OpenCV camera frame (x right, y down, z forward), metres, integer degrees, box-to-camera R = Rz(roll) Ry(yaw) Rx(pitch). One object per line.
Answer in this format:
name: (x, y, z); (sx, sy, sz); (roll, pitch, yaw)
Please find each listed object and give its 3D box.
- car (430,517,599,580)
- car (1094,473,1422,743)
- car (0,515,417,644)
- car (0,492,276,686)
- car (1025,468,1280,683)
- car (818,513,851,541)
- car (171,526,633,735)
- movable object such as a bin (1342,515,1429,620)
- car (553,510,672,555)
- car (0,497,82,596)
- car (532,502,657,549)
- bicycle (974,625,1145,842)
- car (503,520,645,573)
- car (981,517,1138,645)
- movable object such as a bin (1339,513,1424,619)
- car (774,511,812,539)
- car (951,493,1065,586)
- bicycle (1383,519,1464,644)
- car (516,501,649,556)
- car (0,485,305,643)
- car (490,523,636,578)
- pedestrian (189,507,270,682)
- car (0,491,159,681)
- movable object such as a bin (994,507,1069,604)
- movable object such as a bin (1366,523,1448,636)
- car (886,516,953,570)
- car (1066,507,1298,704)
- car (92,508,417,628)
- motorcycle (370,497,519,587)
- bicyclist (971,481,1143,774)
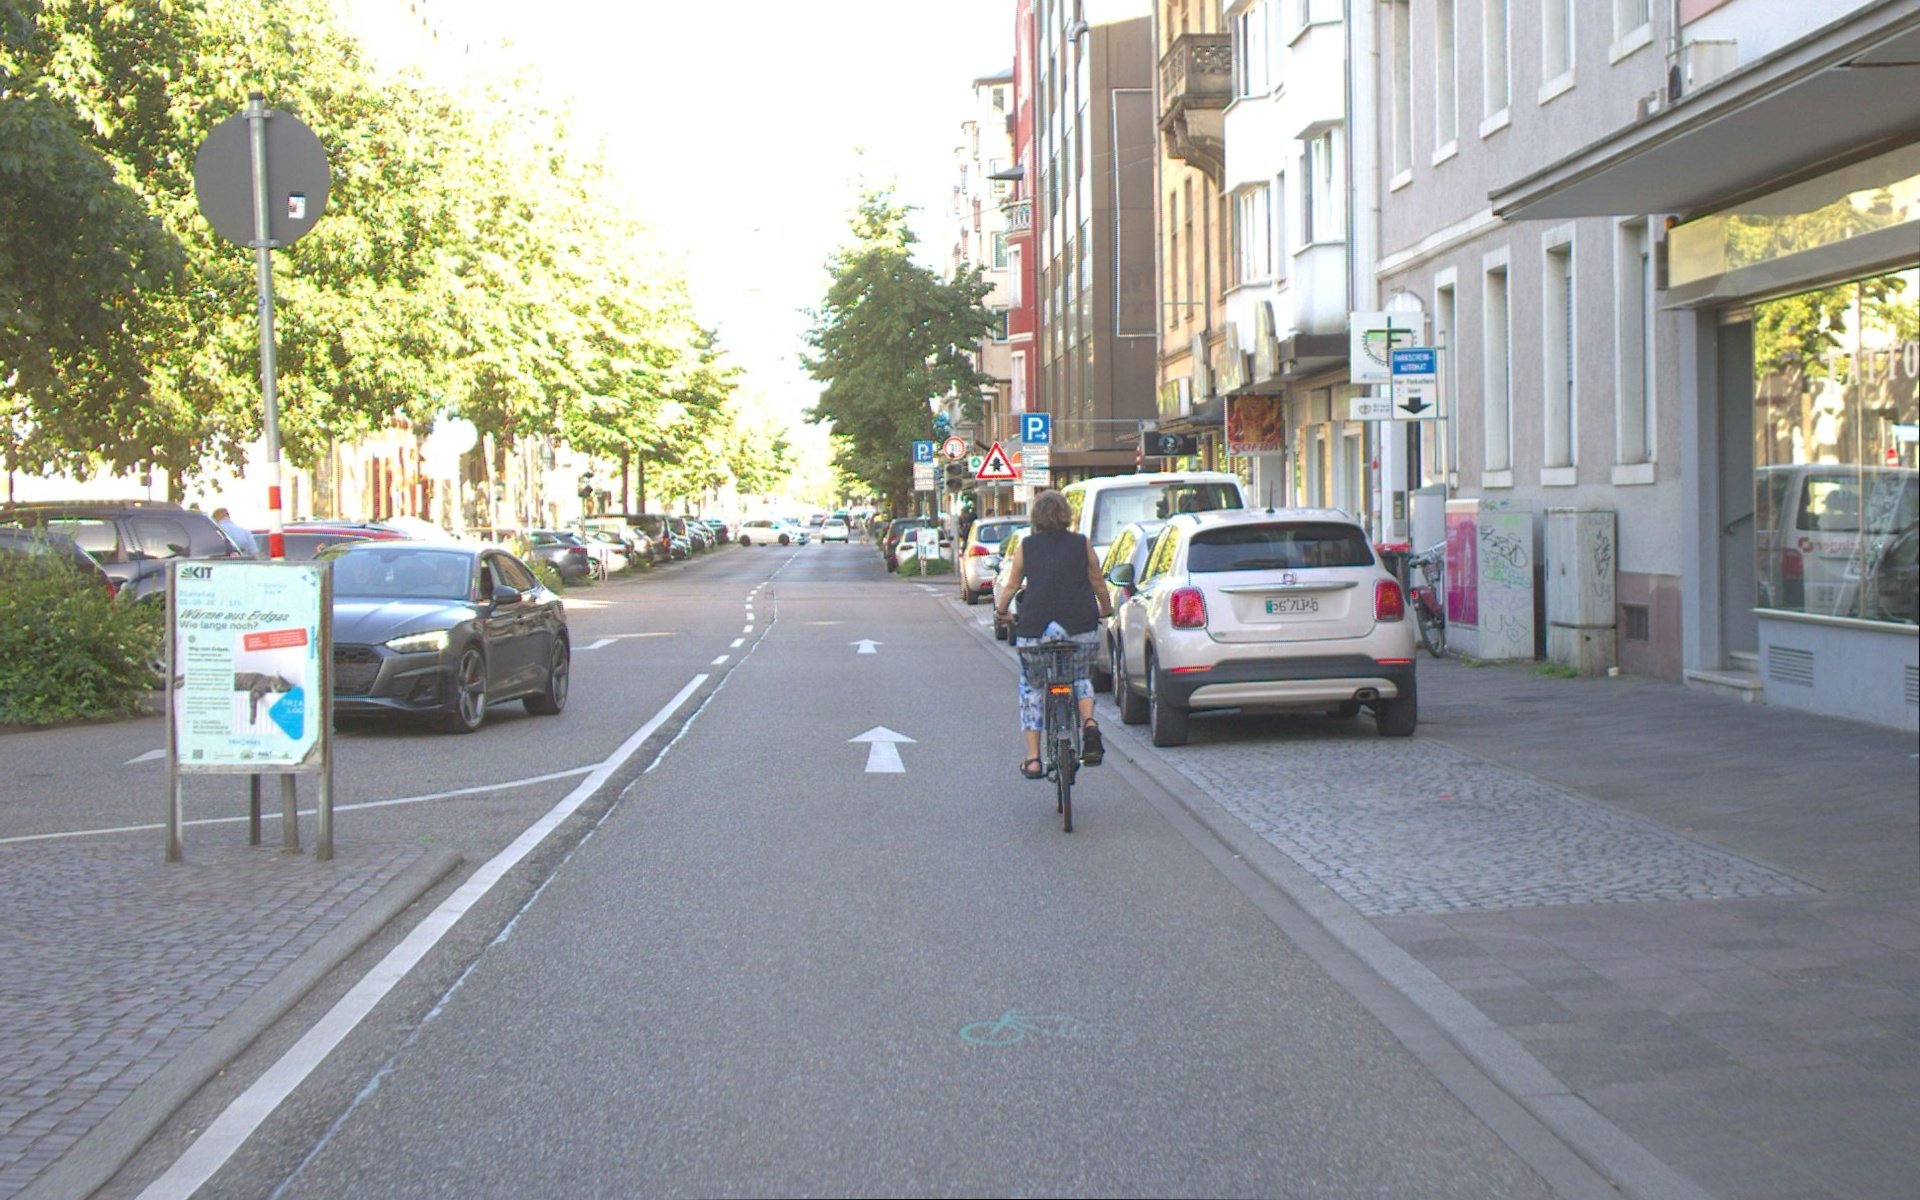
car: (-11.135, -1.285, 86.193); (3.987, 1.503, 2.000); (1, 1, -1)
car: (2.039, 0.026, 24.856); (1.745, 1.733, 4.961); (1, 1, -2)
car: (-9.223, -0.242, 41.899); (4.834, 1.483, 1.765); (1, 1, -23)
car: (-8.243, -0.123, 30.644); (3.986, 1.662, 2.001); (1, 2, -18)
car: (1.854, -0.306, 34.745); (1.993, 1.998, 5.118); (0, 2, -3)
car: (-7.451, -4.341, 204.863); (1.870, 1.550, 4.000); (1, 1, -1)
car: (-4.085, 0.189, 26.087); (1.912, 1.412, 4.808); (1, 1, 11)
movable object such as a bin: (4.587, -0.348, 37.102); (0.794, 1.072, 0.660); (-3, 0, 0)
car: (-12.068, -2.336, 119.580); (3.986, 1.503, 2.000); (1, 1, -2)
car: (-19.014, -1.001, 63.036); (5.263, 1.793, 2.164); (0, 1, -28)
car: (-12.218, -2.486, 114.949); (3.987, 1.503, 1.895); (1, 1, -1)
bicycle: (0.471, 0.634, 17.423); (0.652, 0.955, 2.698); (1, 1, -3)
car: (-11.351, -1.579, 101.254); (3.987, 1.503, 2.000); (1, 1, -1)
car: (1.246, -0.256, 44.304); (1.718, 1.510, 3.583); (-3, 1, -2)
movable object such as a bin: (4.630, -0.375, 37.808); (0.839, 1.133, 0.699); (-1, 0, 1)
car: (-9.367, -4.199, 192.881); (1.993, 1.550, 4.000); (1, 1, -1)
car: (0.876, -1.136, 65.625); (1.899, 1.669, 4.825); (1, 1, -2)
bicycle: (4.559, -0.182, 33.774); (0.483, 1.182, 1.718); (-3, 0, 16)
car: (-11.922, -2.257, 108.751); (3.987, 1.668, 2.089); (1, 1, -1)
car: (-9.034, -0.383, 36.301); (3.986, 1.592, 1.750); (1, 0, -5)
car: (-11.438, -1.423, 99.150); (3.987, 1.503, 2.000); (1, 1, -1)
pedestrian: (-6.954, -0.054, 32.758); (0.699, 1.644, 0.646); (1, 0, -8)
car: (-8.518, -0.129, 26.823); (3.987, 1.464, 1.874); (0, 1, -36)
movable object such as a bin: (1.149, -0.717, 54.929); (1.073, 1.452, 1.492); (-3, 2, 3)
movable object such as a bin: (4.657, -0.216, 35.829); (0.768, 1.157, 0.578); (1, 0, 1)
car: (-1.239, -1.756, 106.707); (1.993, 1.612, 4.010); (1, 1, 0)
car: (1.876, 0.027, 29.981); (1.699, 1.598, 3.757); (0, 1, -1)
car: (-9.740, -0.434, 47.533); (3.987, 1.580, 1.831); (1, 1, -32)
motorcycle: (-9.426, -1.062, 62.831); (2.474, 1.599, 0.999); (-1, 1, 17)
bicyclist: (0.483, 0.132, 17.638); (0.786, 1.448, 1.096); (1, 0, -2)
